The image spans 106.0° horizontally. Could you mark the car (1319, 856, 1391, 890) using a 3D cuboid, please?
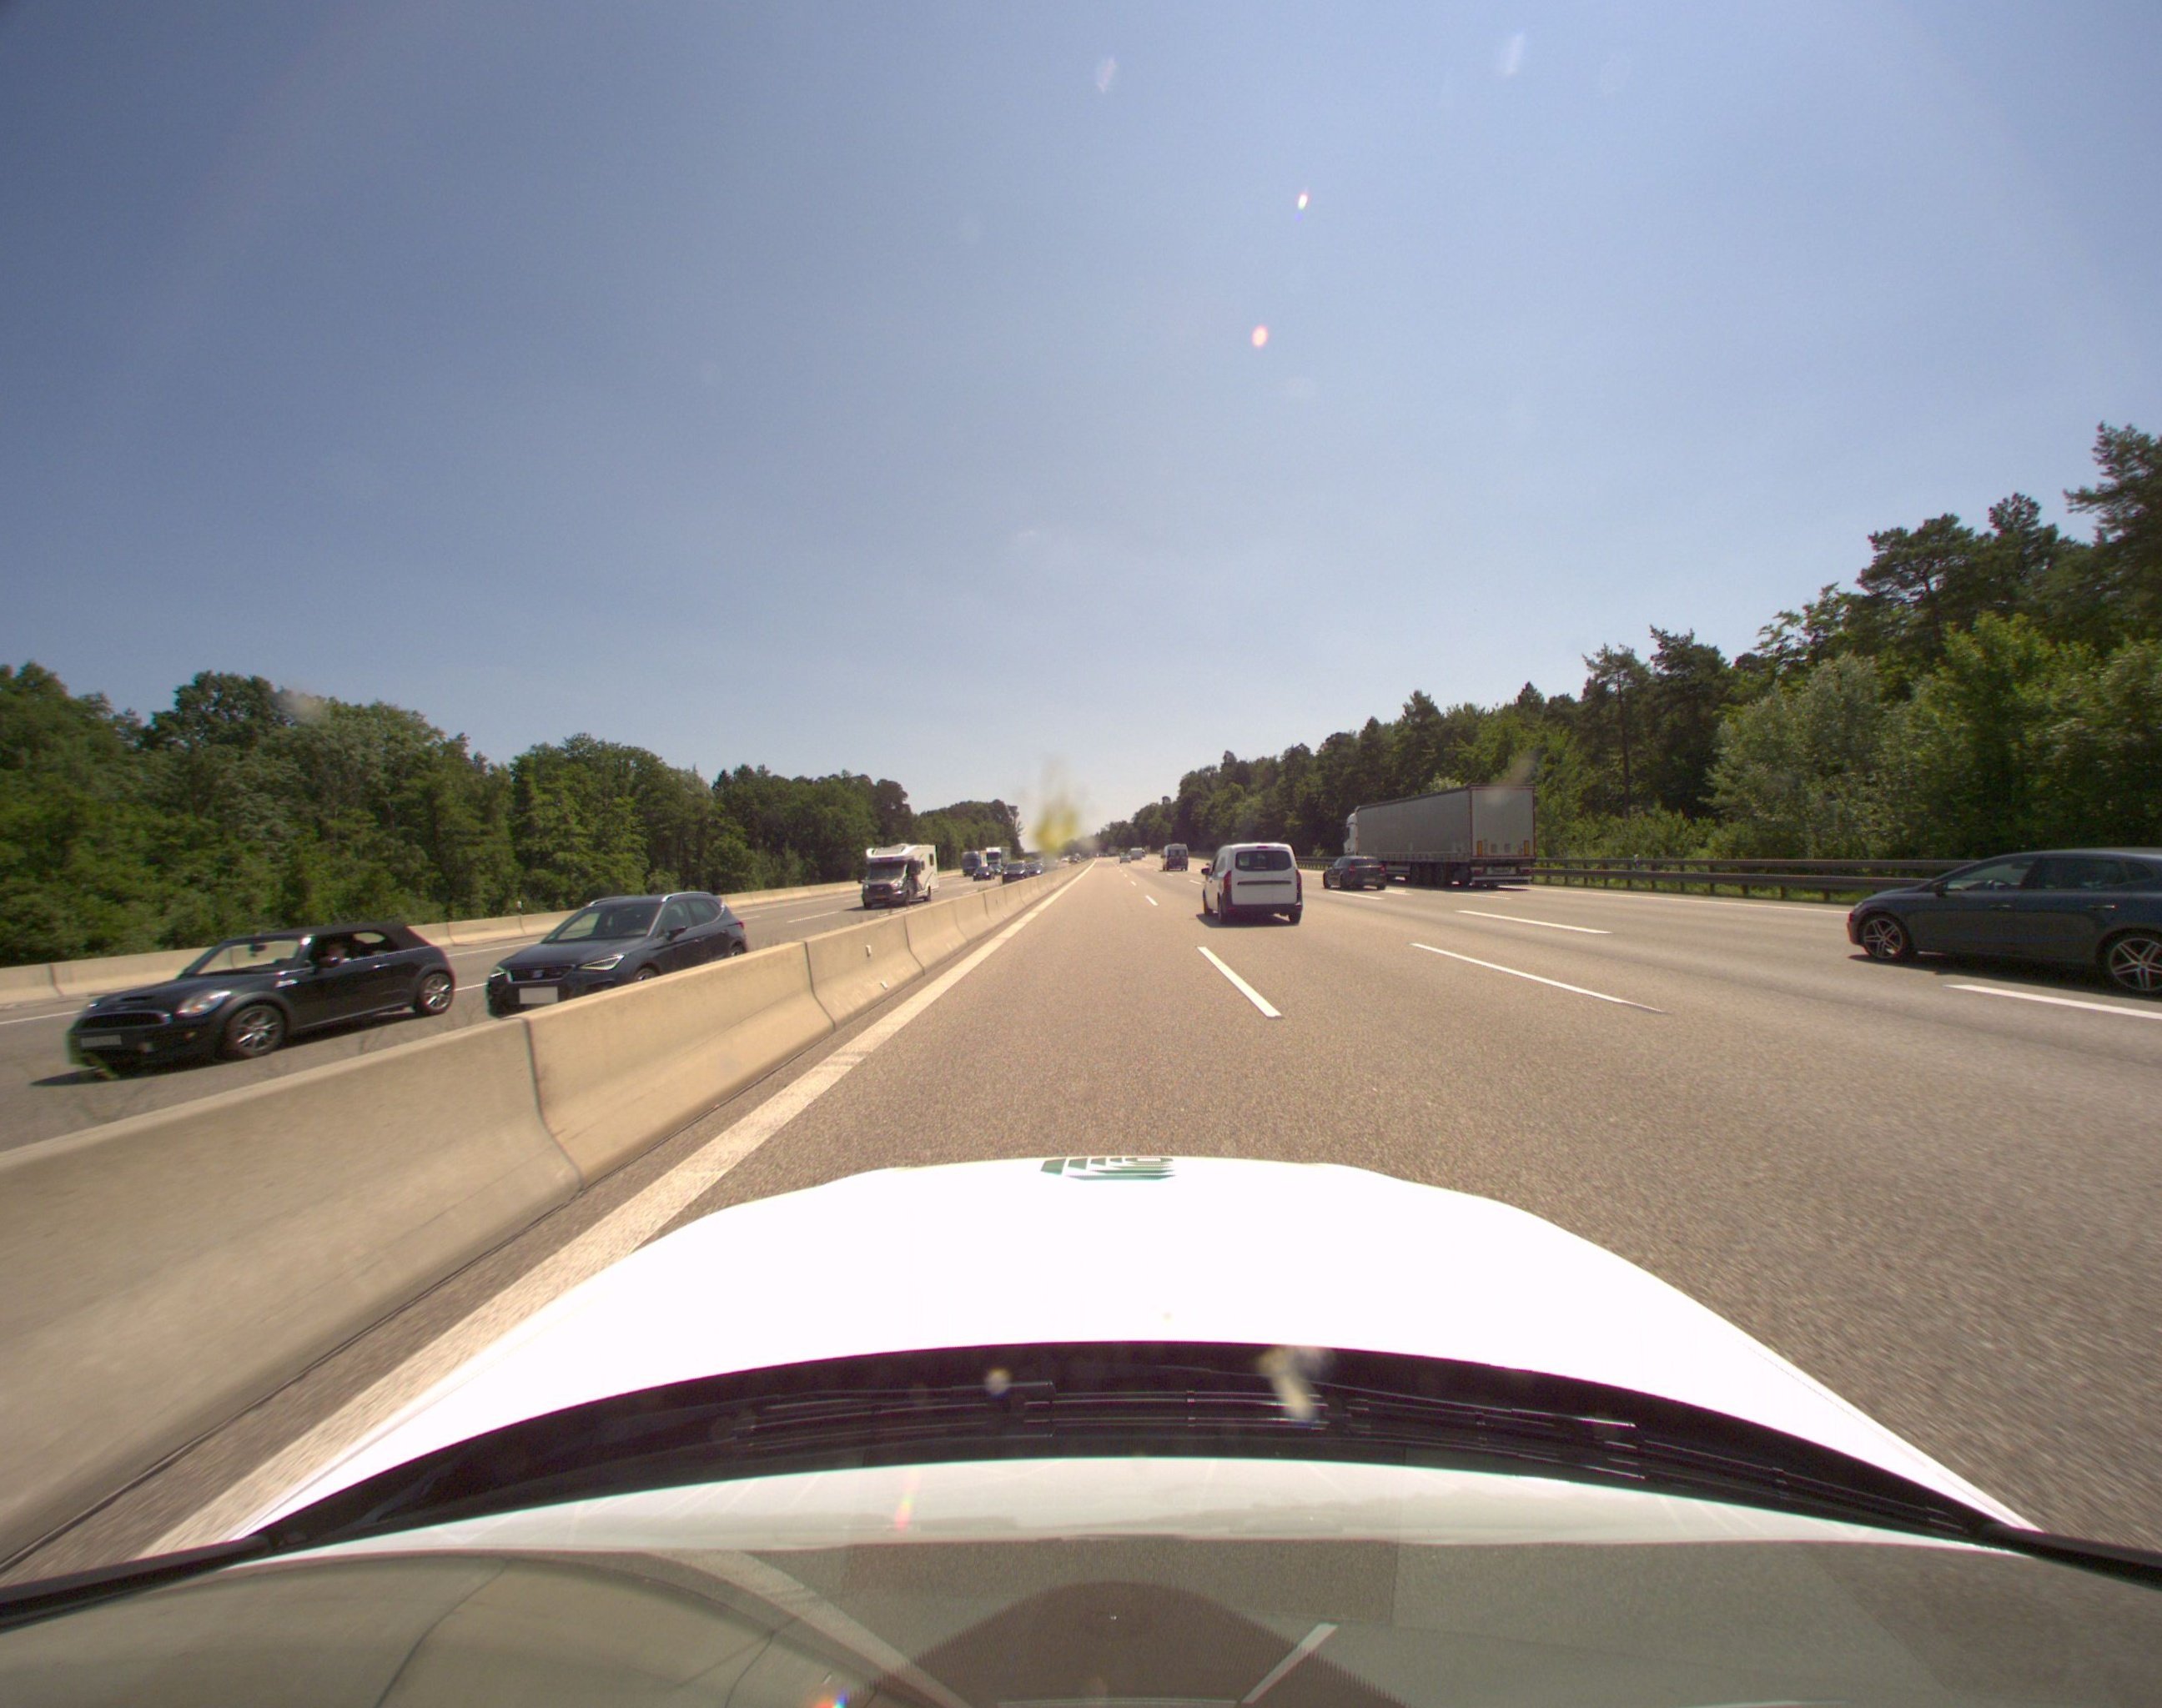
[{"bbox_3d":[11.419,0.749,34.242,1.664,1.273,4.292,-3,0,2],"label":"car"}]

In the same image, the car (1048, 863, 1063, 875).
[{"bbox_3d":[-3.406,2.005,109.048,1.746,1.377,4.492,-3,0,1],"label":"car"}]

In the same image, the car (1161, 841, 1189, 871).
[{"bbox_3d":[9.080,0.199,78.781,2.135,2.652,5.712,-2,0,2],"label":"car"}]

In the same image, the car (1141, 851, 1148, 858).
[{"bbox_3d":[16.901,0.110,216.874,1.814,1.860,4.001,-3,0,2],"label":"car"}]

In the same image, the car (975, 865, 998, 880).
[{"bbox_3d":[-9.805,1.907,84.489,1.829,1.338,3.644,-3,-1,1],"label":"car"}]

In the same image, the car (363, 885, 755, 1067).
[{"bbox_3d":[-6.161,1.300,10.560,1.717,1.537,5.054,-4,-1,0],"label":"car"}]

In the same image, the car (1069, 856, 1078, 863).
[{"bbox_3d":[-1.702,1.236,184.297,1.829,1.338,3.644,-3,0,1],"label":"car"}]

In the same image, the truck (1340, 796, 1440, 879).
[{"bbox_3d":[16.588,-0.824,44.198,3.242,4.106,5.989,-1,0,1],"label":"truck"}]

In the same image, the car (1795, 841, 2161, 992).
[{"bbox_3d":[11.108,0.588,9.462,1.637,1.438,4.636,-1,0,1],"label":"car"}]

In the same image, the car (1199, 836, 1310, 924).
[{"bbox_3d":[4.017,0.596,19.629,1.852,1.826,4.615,-2,-1,3],"label":"car"}]

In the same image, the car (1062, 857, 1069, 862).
[{"bbox_3d":[-4.163,1.614,224.075,1.724,1.338,3.644,-3,0,2],"label":"car"}]

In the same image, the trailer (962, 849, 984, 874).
[{"bbox_3d":[-14.944,1.093,113.073,2.492,3.212,4.711,-3,-1,-4],"label":"trailer"}]

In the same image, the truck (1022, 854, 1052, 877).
[{"bbox_3d":[-4.137,1.100,77.665,2.372,2.014,4.001,-3,-1,1],"label":"truck"}]

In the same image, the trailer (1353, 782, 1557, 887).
[{"bbox_3d":[16.441,-0.720,37.666,3.276,3.930,13.893,-1,0,1],"label":"trailer"}]

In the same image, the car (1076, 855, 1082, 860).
[{"bbox_3d":[-0.658,1.141,248.013,1.724,1.338,3.644,-3,0,2],"label":"car"}]

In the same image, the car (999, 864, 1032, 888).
[{"bbox_3d":[-4.813,1.598,60.436,1.986,1.618,4.001,-3,0,2],"label":"car"}]

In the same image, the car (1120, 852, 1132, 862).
[{"bbox_3d":[7.846,0.515,141.815,1.836,1.629,4.556,-3,-1,2],"label":"car"}]

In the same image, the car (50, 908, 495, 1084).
[{"bbox_3d":[-10.097,1.650,10.727,1.528,1.481,4.127,-5,0,3],"label":"car"}]

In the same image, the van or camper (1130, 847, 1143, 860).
[{"bbox_3d":[12.091,-0.099,177.535,2.635,2.539,6.504,-3,-1,2],"label":"van or camper"}]

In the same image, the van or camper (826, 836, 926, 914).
[{"bbox_3d":[-9.180,0.886,37.434,2.190,3.057,8.030,-3,-1,2],"label":"van or camper"}]

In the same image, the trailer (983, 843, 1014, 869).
[{"bbox_3d":[-13.821,0.404,137.041,3.524,4.068,10.374,-3,-1,2],"label":"trailer"}]
